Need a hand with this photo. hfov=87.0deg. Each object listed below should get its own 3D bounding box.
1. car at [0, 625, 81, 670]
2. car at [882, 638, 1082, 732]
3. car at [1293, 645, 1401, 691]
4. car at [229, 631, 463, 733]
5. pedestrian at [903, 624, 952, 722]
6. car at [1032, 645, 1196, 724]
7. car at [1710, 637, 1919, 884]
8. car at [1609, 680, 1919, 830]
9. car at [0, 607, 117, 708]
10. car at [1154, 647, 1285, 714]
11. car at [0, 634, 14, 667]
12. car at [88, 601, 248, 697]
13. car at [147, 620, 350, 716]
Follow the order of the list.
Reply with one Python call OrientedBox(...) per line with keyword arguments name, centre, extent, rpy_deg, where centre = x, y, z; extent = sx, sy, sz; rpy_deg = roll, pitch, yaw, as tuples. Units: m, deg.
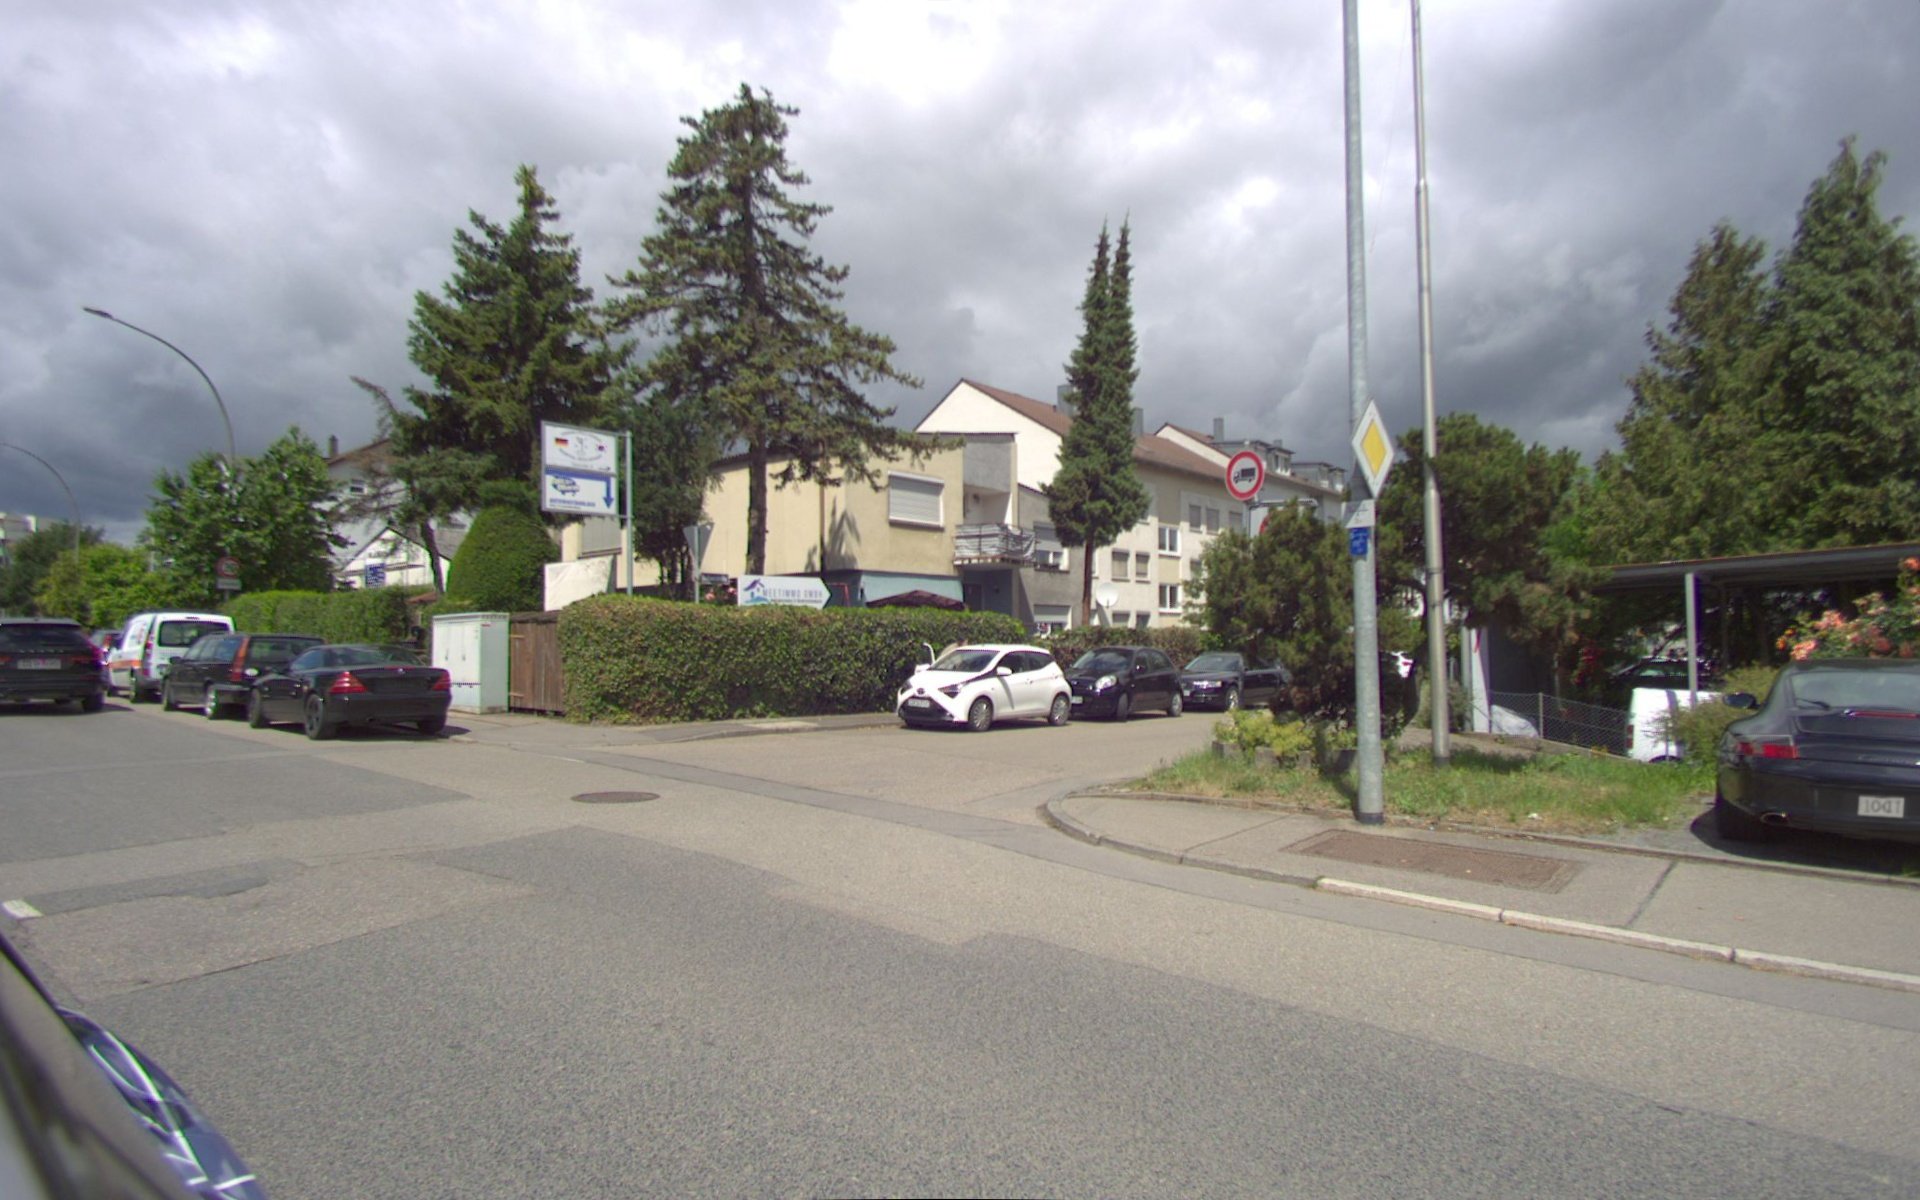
OrientedBox(name="car", centre=(-33.297, 1.724, 36.409), extent=(4.730, 1.504, 1.702), rpy_deg=(-2, -4, 39))
OrientedBox(name="car", centre=(0.469, 1.481, 17.876), extent=(1.613, 1.489, 3.514), rpy_deg=(-2, -5, 42))
OrientedBox(name="car", centre=(16.657, 2.908, 43.581), extent=(3.988, 1.807, 1.978), rpy_deg=(-2, -1, 33))
OrientedBox(name="car", centre=(-9.177, 1.188, 15.016), extent=(4.112, 1.314, 1.614), rpy_deg=(-2, -6, 39))
OrientedBox(name="pedestrian", centre=(-0.604, 1.316, 18.505), extent=(0.621, 1.747, 0.686), rpy_deg=(2, -3, -28))
OrientedBox(name="car", centre=(3.282, 1.732, 21.103), extent=(1.842, 1.489, 3.631), rpy_deg=(-2, -5, 38))
OrientedBox(name="car", centre=(6.657, 0.963, 7.234), extent=(1.870, 1.213, 3.948), rpy_deg=(-2, -1, 39))
OrientedBox(name="car", centre=(13.966, 2.474, 16.911), extent=(5.020, 2.029, 1.974), rpy_deg=(-2, -1, 40))
OrientedBox(name="car", centre=(-16.881, 1.024, 18.132), extent=(4.408, 1.628, 1.973), rpy_deg=(-2, -4, 40))
OrientedBox(name="car", centre=(6.441, 1.961, 24.893), extent=(1.842, 1.489, 3.631), rpy_deg=(-2, -5, 38))
OrientedBox(name="car", centre=(-43.459, 2.248, 44.917), extent=(4.335, 1.425, 1.645), rpy_deg=(-3, -4, 41))
OrientedBox(name="car", centre=(-16.991, 1.071, 21.650), extent=(4.352, 1.852, 1.726), rpy_deg=(-2, -6, 40))
OrientedBox(name="car", centre=(-12.685, 1.200, 17.938), extent=(4.640, 1.483, 1.726), rpy_deg=(-2, -6, 40))
